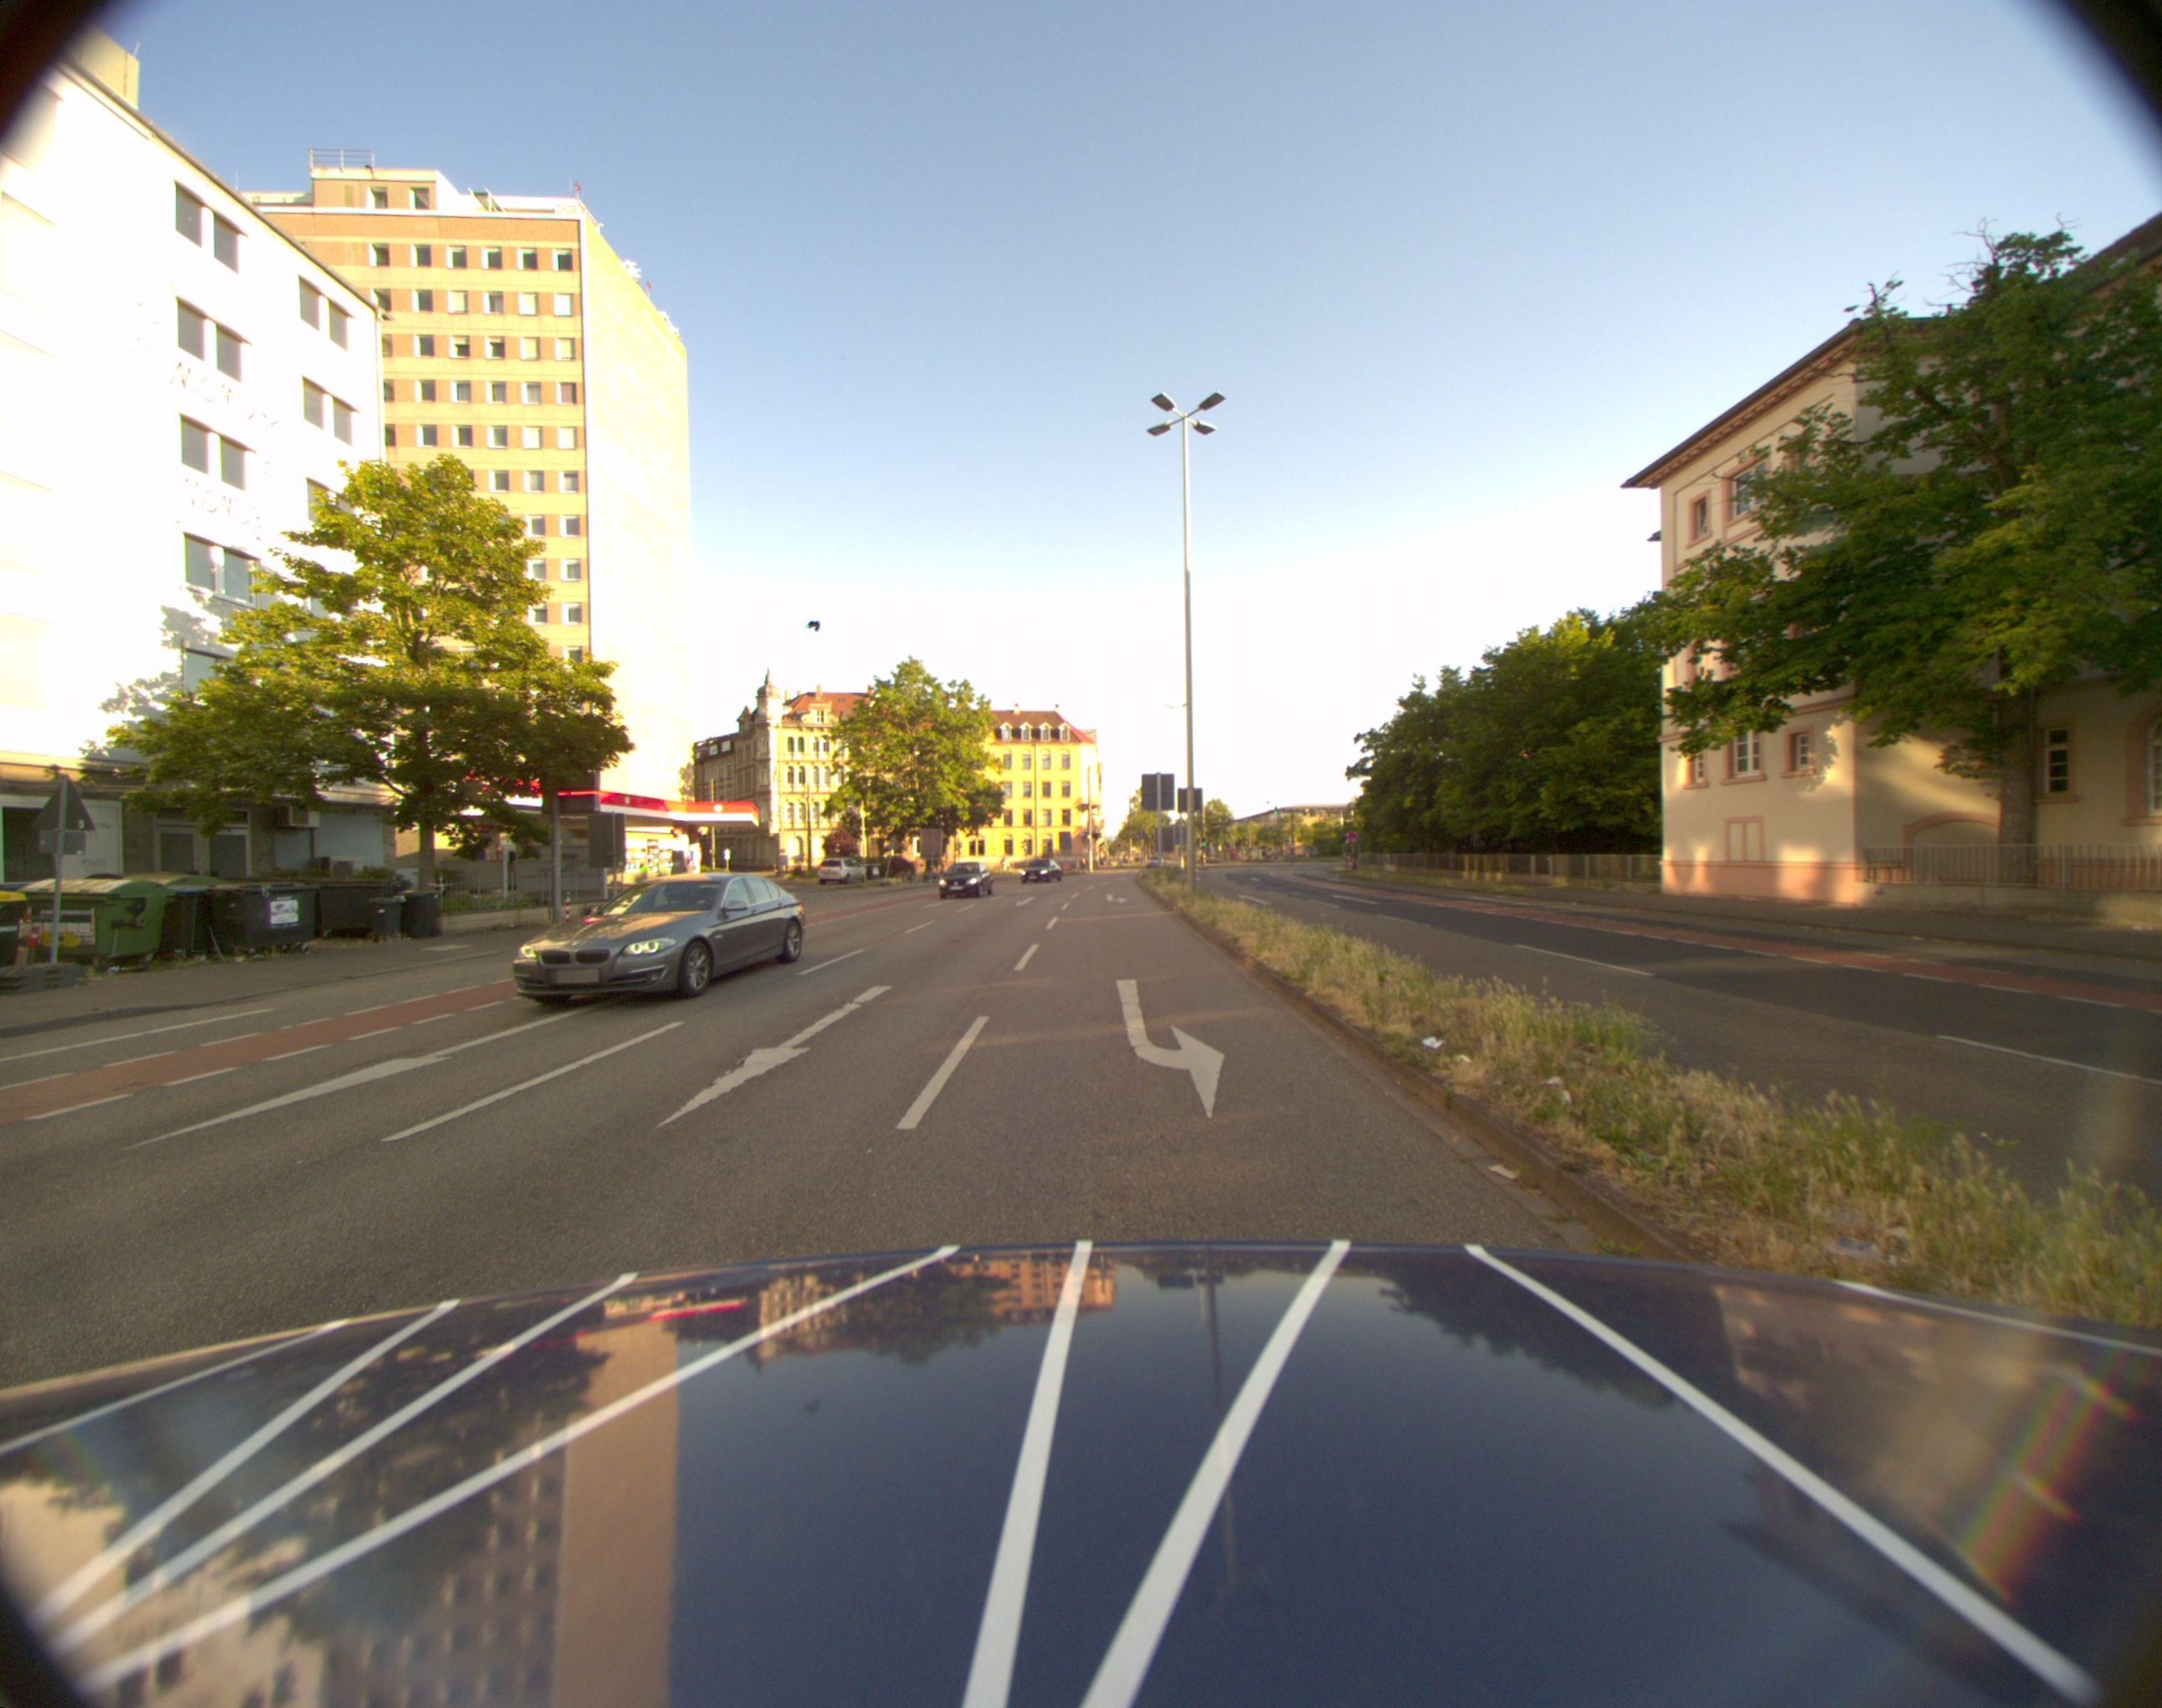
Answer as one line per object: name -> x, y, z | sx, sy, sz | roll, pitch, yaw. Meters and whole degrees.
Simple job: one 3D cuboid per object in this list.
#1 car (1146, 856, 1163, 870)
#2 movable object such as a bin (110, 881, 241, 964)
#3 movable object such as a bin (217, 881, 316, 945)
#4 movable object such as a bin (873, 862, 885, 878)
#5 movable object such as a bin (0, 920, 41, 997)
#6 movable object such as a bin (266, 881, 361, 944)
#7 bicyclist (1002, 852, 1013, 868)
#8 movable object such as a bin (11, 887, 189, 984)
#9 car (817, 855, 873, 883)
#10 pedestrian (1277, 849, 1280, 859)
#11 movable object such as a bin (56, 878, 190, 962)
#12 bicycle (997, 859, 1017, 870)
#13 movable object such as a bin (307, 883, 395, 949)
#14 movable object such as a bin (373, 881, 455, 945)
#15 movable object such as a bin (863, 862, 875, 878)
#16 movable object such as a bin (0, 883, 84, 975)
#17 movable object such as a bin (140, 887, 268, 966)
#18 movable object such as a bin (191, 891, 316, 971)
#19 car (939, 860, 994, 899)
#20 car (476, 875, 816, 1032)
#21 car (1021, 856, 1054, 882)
car -> 8.583, 1.042, 88.571 | 1.673, 1.410, 4.443 | -2, 0, 9
movable object such as a bin -> -17.121, 1.266, 14.405 | 1.034, 1.440, 1.162 | -1, 1, -2
movable object such as a bin -> -17.927, 1.280, 16.758 | 0.956, 1.320, 1.098 | -1, 1, -2
movable object such as a bin -> -13.138, 1.040, 49.396 | 0.544, 1.013, 0.688 | -1, 1, 5
movable object such as a bin -> -15.511, 1.482, 10.587 | 0.853, 1.039, 0.819 | -1, 1, -4
movable object such as a bin -> -16.930, 1.266, 16.801 | 0.956, 1.276, 1.098 | -1, 1, -2
bicyclist -> -7.482, 0.627, 77.755 | 1.065, 1.639, 0.732 | -1, 1, -7
movable object such as a bin -> -15.810, 1.287, 12.300 | 1.351, 1.415, 1.105 | -1, 1, -4
car -> -13.946, 0.881, 45.117 | 1.688, 1.508, 3.798 | -1, 1, 8
pedestrian -> 34.885, 0.013, 134.352 | 0.467, 1.695, 0.419 | -1, 1, 1
movable object such as a bin -> -18.296, 1.231, 14.559 | 1.034, 1.490, 1.162 | -1, 1, -2
bicycle -> -7.566, 1.085, 77.608 | 1.927, 1.053, 0.451 | -1, 1, -7
movable object such as a bin -> -15.863, 1.330, 16.540 | 0.956, 1.320, 0.953 | -1, 1, -2
movable object such as a bin -> -14.877, 1.299, 16.977 | 0.956, 1.320, 0.953 | -1, 1, -2
movable object such as a bin -> -13.859, 1.056, 49.607 | 0.544, 1.013, 0.688 | -1, 1, 5
movable object such as a bin -> -18.688, 1.289, 13.247 | 1.034, 1.490, 1.162 | -1, 1, -2
movable object such as a bin -> -16.037, 1.298, 13.936 | 0.956, 1.320, 1.162 | -1, 1, -2
movable object such as a bin -> -14.925, 1.360, 13.744 | 0.956, 1.320, 1.162 | -1, 1, -2
car -> -4.708, 1.011, 31.683 | 1.584, 1.441, 3.872 | -2, 0, 1
car -> -5.367, 1.109, 10.284 | 1.819, 1.441, 4.666 | -2, 0, 1
car -> -2.665, 0.919, 47.557 | 1.731, 1.441, 4.046 | -2, 0, 1
